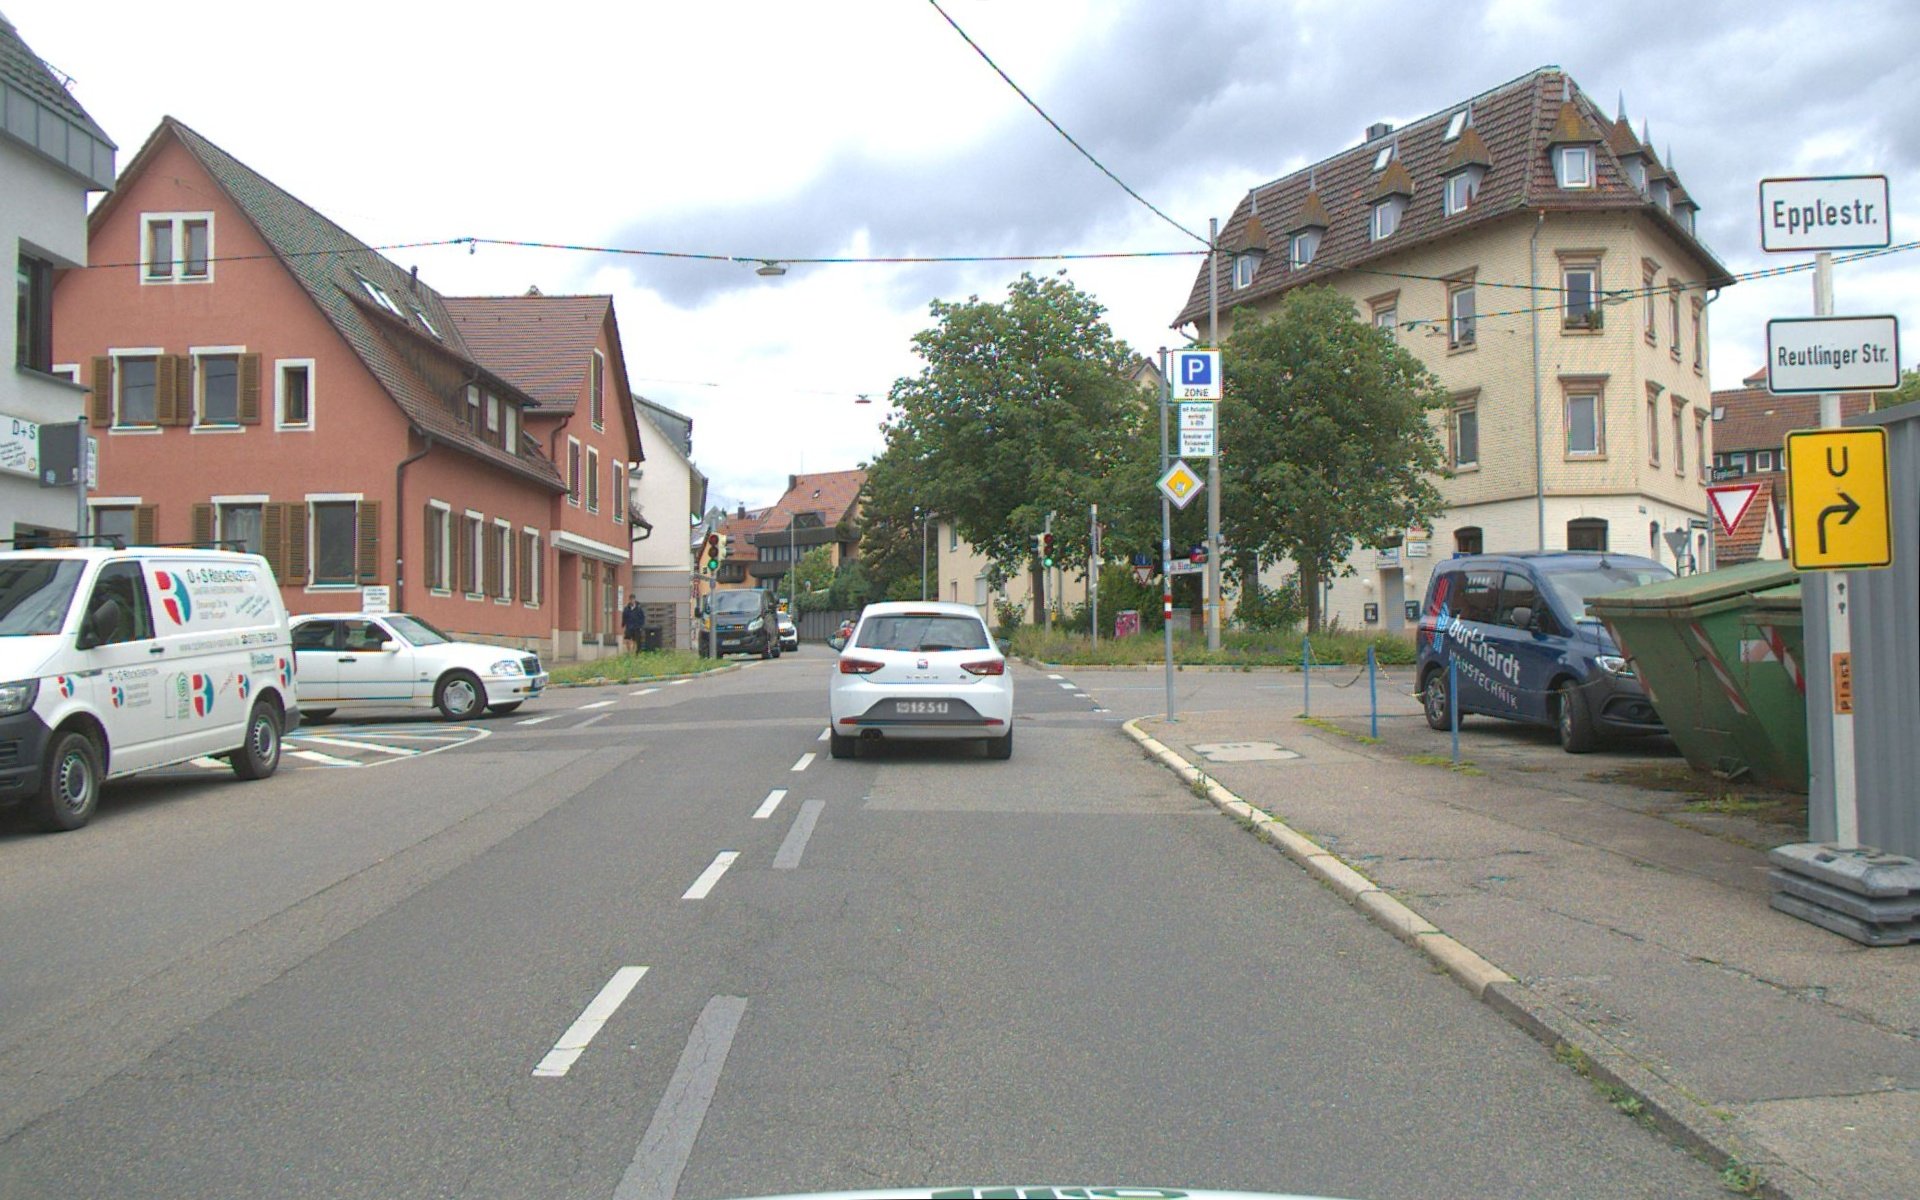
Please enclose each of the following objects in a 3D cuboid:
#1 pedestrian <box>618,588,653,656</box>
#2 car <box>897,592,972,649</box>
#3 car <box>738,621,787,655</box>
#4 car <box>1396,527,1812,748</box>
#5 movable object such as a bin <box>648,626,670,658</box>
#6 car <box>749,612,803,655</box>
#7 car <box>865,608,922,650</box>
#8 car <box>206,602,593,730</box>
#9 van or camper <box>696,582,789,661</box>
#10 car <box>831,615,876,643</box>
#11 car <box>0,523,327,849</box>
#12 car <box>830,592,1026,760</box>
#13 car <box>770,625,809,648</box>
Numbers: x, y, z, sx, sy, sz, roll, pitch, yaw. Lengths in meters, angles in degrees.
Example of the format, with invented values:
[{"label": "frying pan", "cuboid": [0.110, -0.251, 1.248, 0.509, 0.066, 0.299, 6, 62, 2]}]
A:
[{"label": "pedestrian", "cuboid": [-8.799, 0.600, 44.820, 0.784, 1.816, 0.892, 0, -1, -2]}, {"label": "car", "cuboid": [-0.742, 0.597, 44.957, 1.724, 1.477, 3.995, 0, -2, -6]}, {"label": "car", "cuboid": [-8.966, 1.726, 74.835, 1.962, 1.461, 3.908, 1, -1, -11]}, {"label": "car", "cuboid": [5.954, 0.299, 15.979, 1.713, 1.770, 4.564, -2, 0, -8]}, {"label": "movable object such as a bin", "cuboid": [-10.103, 1.412, 55.545, 0.652, 1.036, 0.794, -1, 0, -5]}, {"label": "car", "cuboid": [-7.447, 1.348, 66.476, 1.961, 1.662, 4.847, 1, -1, -9]}, {"label": "car", "cuboid": [-2.458, 1.082, 60.257, 1.725, 1.477, 3.993, 0, -2, -7]}, {"label": "car", "cuboid": [-7.431, 0.849, 22.252, 4.459, 1.470, 2.001, -2, 0, 2]}, {"label": "van or camper", "cuboid": [-6.128, 0.672, 47.108, 2.032, 2.041, 4.855, -2, -2, -2]}, {"label": "car", "cuboid": [-5.997, 1.655, 92.662, 1.730, 1.477, 3.982, 2, -2, -16]}, {"label": "car", "cuboid": [-6.759, 0.563, 12.768, 1.775, 2.040, 4.763, -2, 0, 1]}, {"label": "car", "cuboid": [-0.262, 0.666, 16.643, 1.722, 1.477, 4.000, 0, 0, 1]}, {"label": "car", "cuboid": [-11.489, 2.465, 111.340, 1.732, 1.477, 3.976, 0, -2, -20]}]
